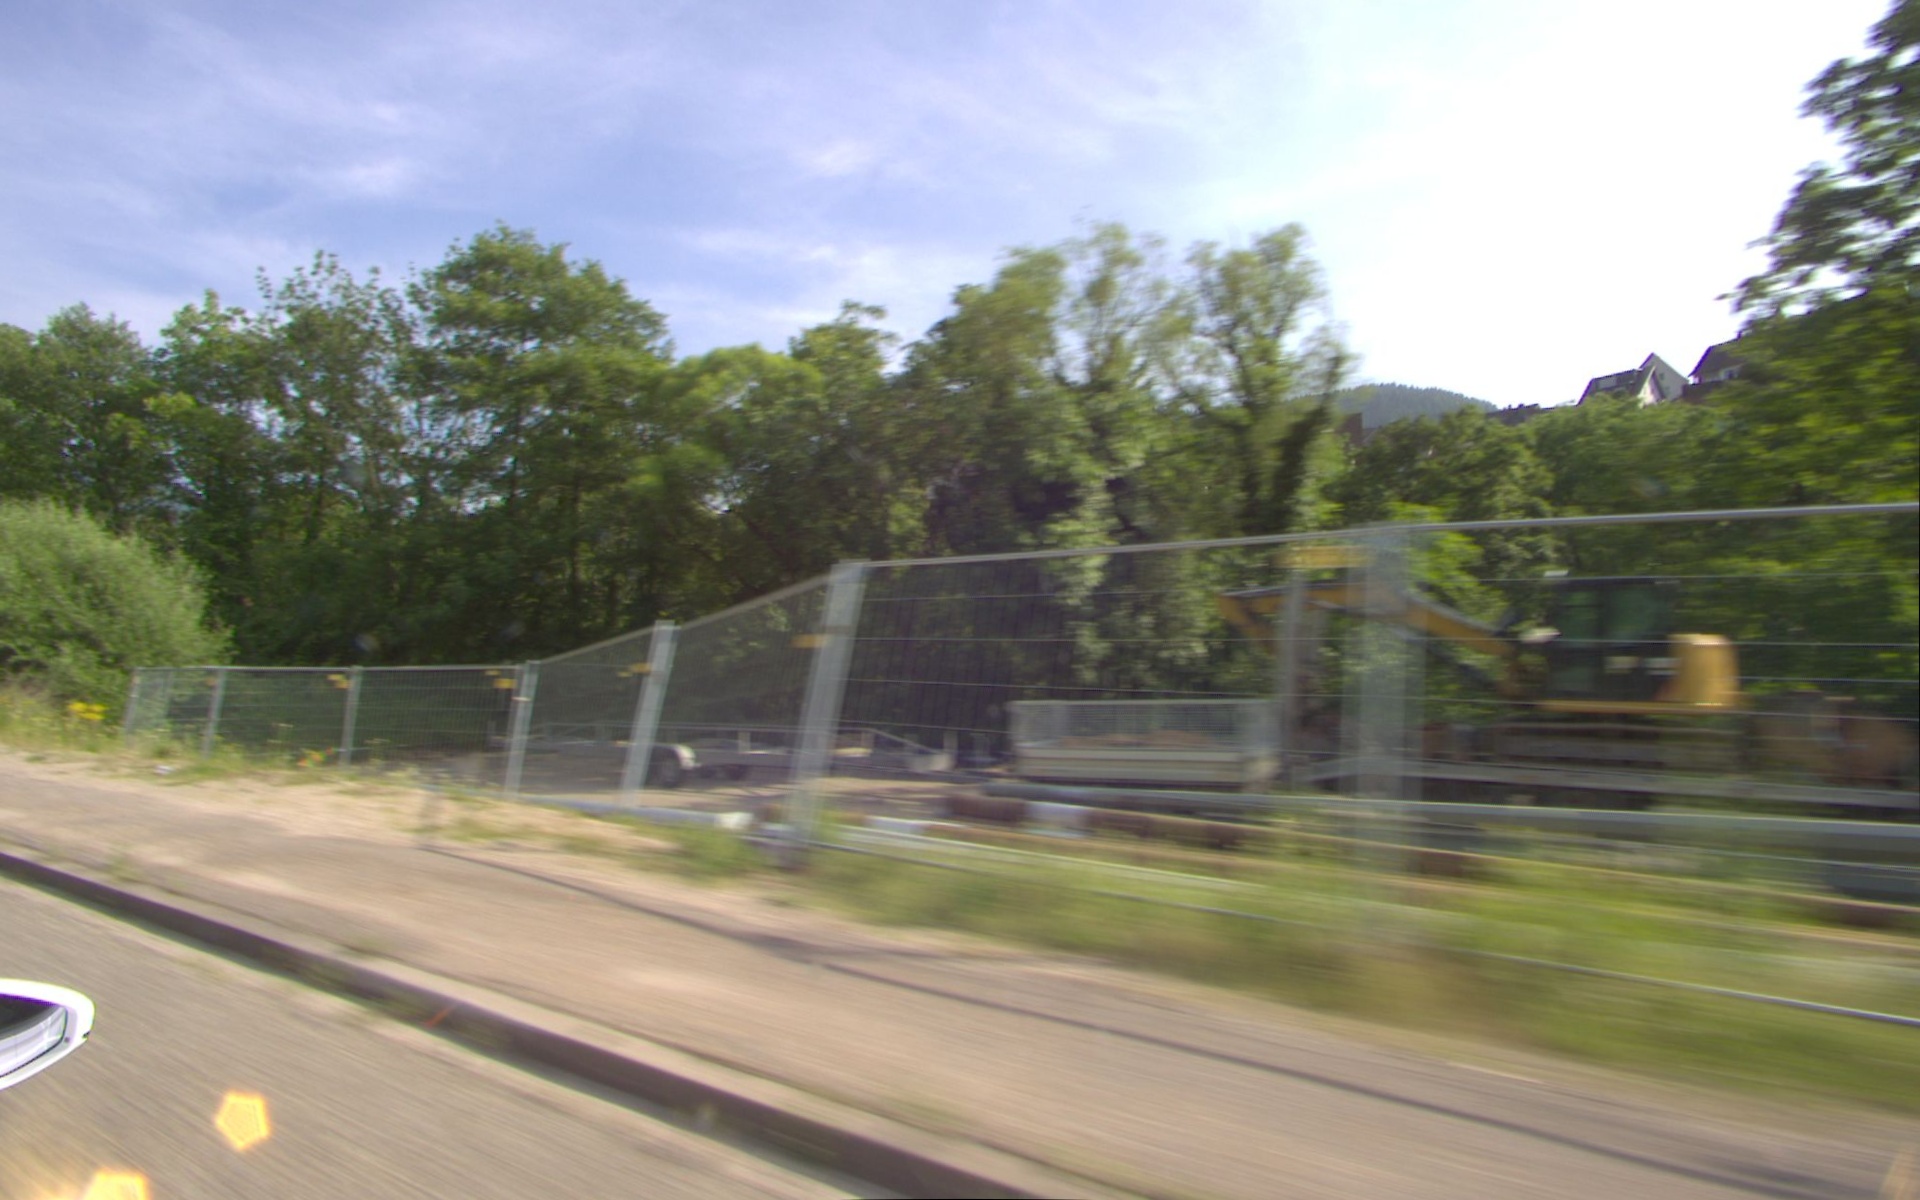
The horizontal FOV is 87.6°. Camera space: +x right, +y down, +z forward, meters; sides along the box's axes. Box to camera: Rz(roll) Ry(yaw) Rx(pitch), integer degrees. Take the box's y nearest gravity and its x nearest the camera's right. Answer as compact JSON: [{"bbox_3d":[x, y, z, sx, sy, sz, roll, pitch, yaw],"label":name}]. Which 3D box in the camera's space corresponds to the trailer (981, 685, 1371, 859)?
[{"bbox_3d":[2.847,2.110,13.320,4.716,1.844,2.055,-1,-4,27],"label":"trailer"}]

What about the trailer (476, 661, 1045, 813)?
[{"bbox_3d":[-4.097,2.197,18.080,11.330,2.038,2.388,-1,-4,30],"label":"trailer"}]

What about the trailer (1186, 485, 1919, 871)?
[{"bbox_3d":[8.523,1.049,14.433,9.759,4.326,3.365,-1,-4,29],"label":"trailer"}]
